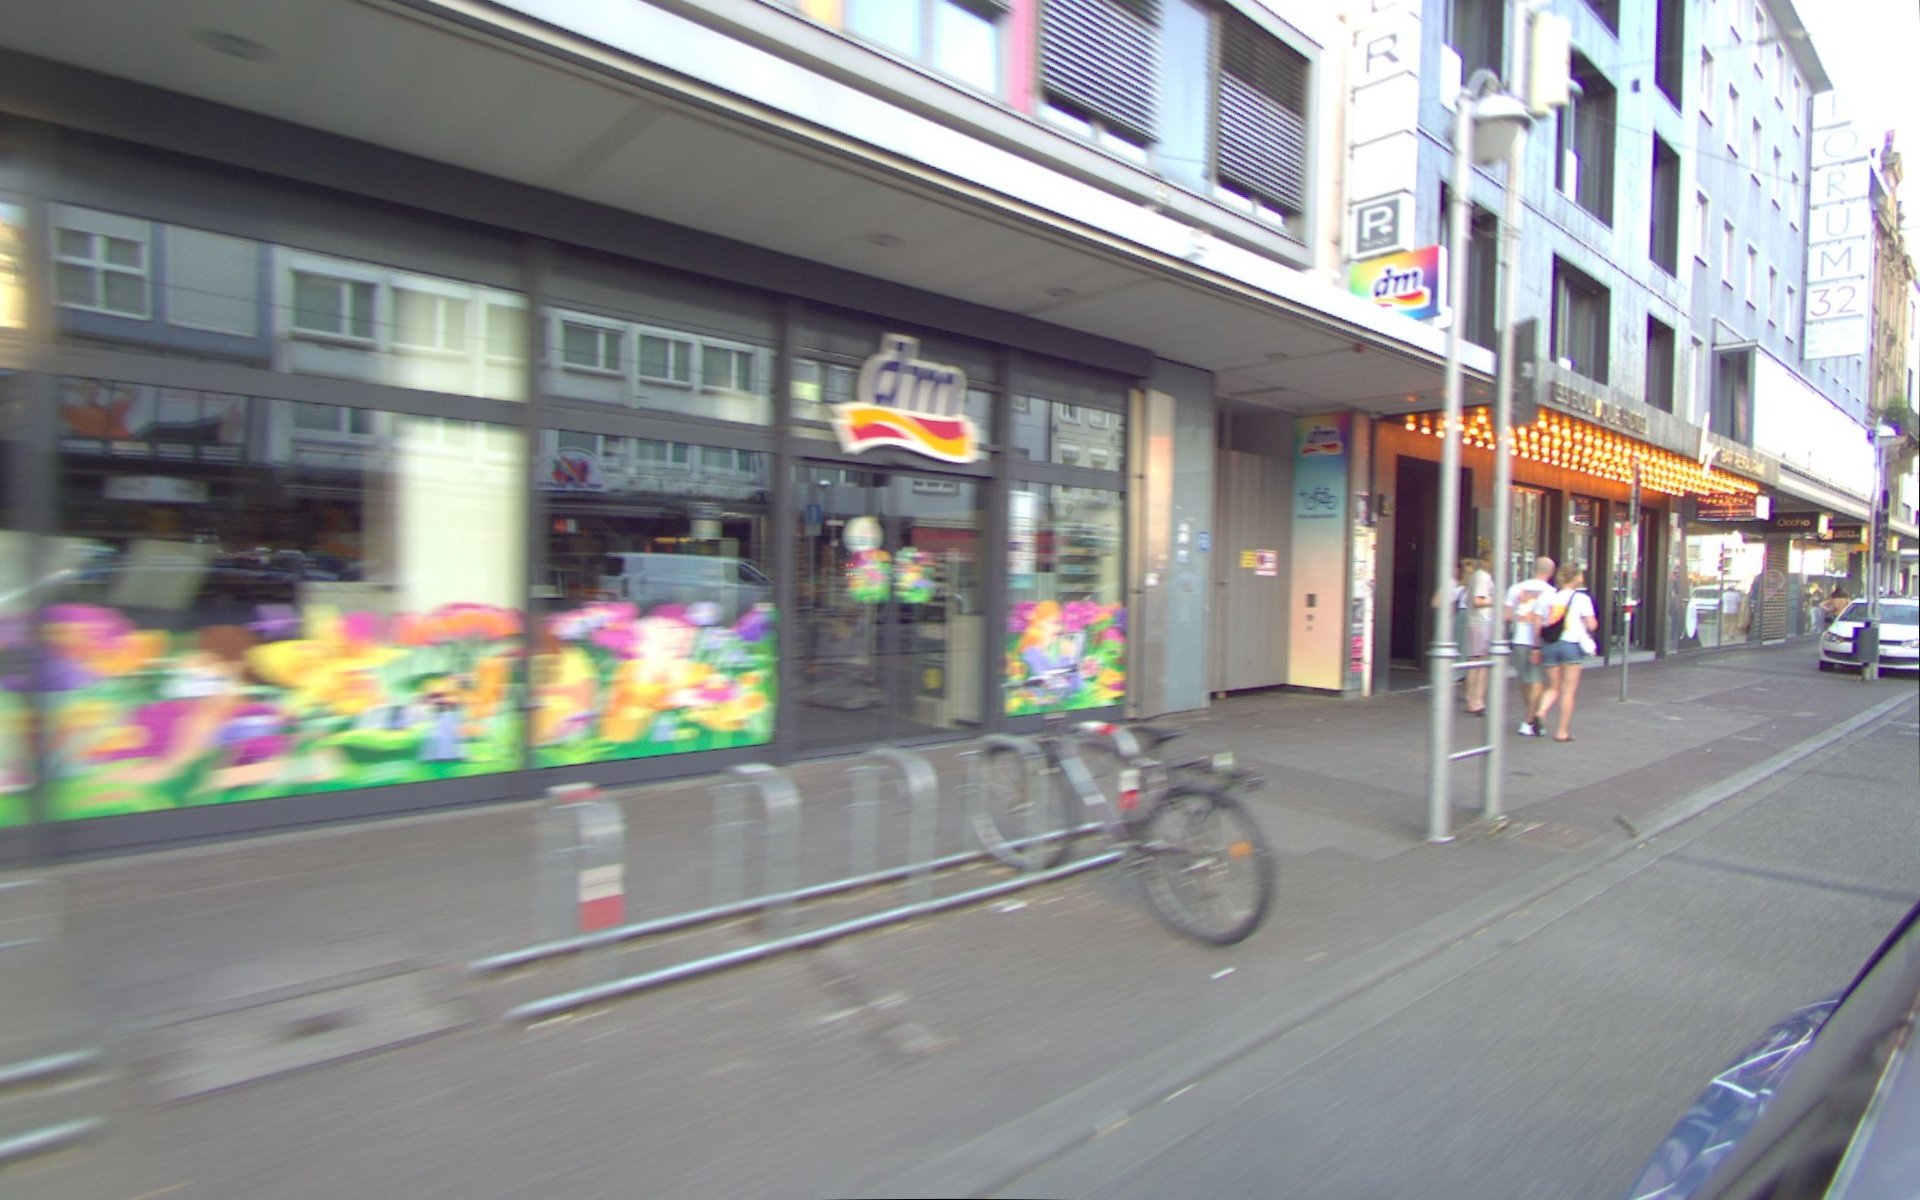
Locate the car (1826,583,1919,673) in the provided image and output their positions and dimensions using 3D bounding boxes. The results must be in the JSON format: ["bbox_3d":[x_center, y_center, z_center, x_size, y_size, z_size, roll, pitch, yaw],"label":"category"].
[{"bbox_3d":[18.321,0.500,19.637,3.817,1.561,1.682,0,3,-40],"label":"car"}]

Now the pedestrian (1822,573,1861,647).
[{"bbox_3d":[21.704,0.232,24.914,0.594,1.775,0.610,0,2,-41],"label":"pedestrian"}]

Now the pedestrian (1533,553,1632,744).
[{"bbox_3d":[5.957,0.433,9.690,0.635,1.748,0.605,0,2,-41],"label":"pedestrian"}]

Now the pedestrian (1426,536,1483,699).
[{"bbox_3d":[5.991,0.200,12.263,0.414,1.922,0.452,0,1,-41],"label":"pedestrian"}]

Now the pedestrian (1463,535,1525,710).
[{"bbox_3d":[6.019,0.237,11.408,0.414,1.922,0.456,0,1,-41],"label":"pedestrian"}]

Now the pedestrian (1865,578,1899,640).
[{"bbox_3d":[26.648,0.251,29.240,0.594,1.775,0.610,0,2,-41],"label":"pedestrian"}]

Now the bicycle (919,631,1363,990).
[{"bbox_3d":[0.700,0.779,4.512,0.665,1.090,1.888,0,4,-43],"label":"bicycle"}]

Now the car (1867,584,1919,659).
[{"bbox_3d":[22.088,0.463,23.042,3.965,1.594,1.672,0,2,-41],"label":"car"}]

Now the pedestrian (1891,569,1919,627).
[{"bbox_3d":[33.853,-0.072,36.189,0.810,2.038,0.711,0,2,-41],"label":"pedestrian"}]

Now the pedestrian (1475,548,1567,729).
[{"bbox_3d":[5.709,0.365,10.298,0.594,1.775,0.610,0,2,-41],"label":"pedestrian"}]
